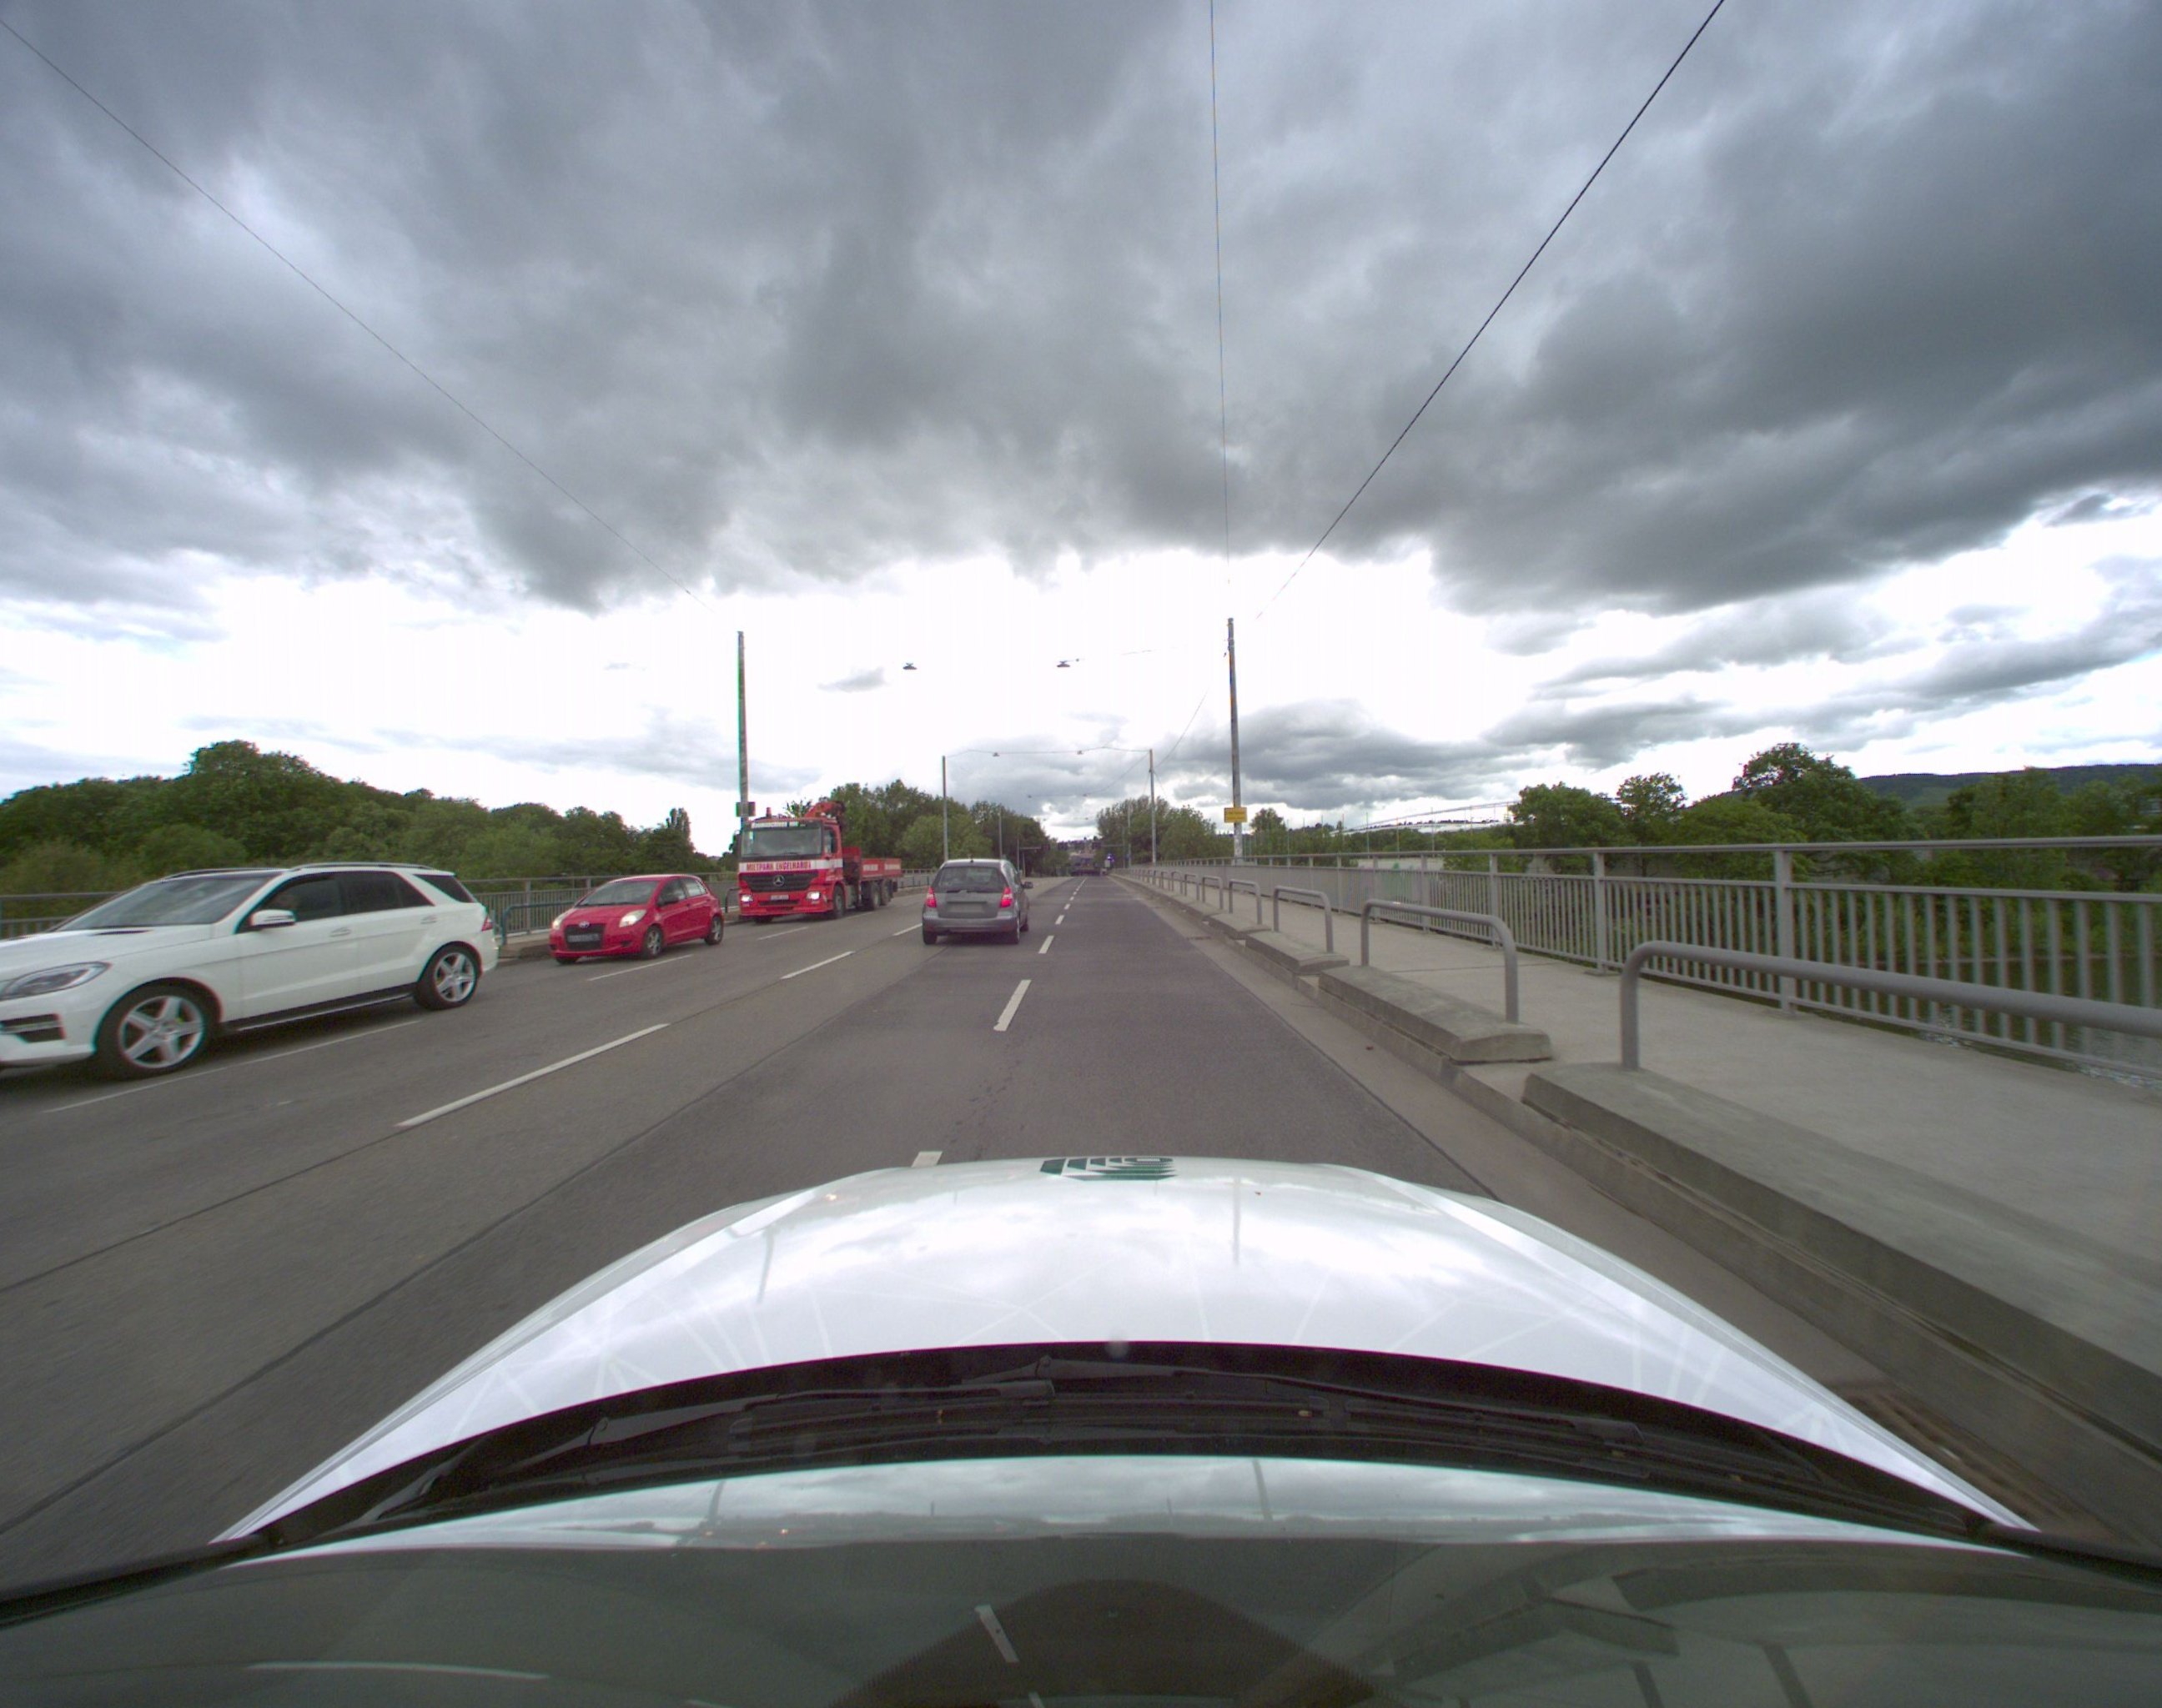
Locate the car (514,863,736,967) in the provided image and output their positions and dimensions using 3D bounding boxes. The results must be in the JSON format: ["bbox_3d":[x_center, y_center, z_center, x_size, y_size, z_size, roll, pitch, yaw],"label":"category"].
[{"bbox_3d":[-8.434,1.035,15.560,1.873,1.603,4.015,-3,0,0],"label":"car"}]

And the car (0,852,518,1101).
[{"bbox_3d":[-8.337,0.918,8.198,1.873,1.761,4.802,-3,0,1],"label":"car"}]

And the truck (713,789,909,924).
[{"bbox_3d":[-8.472,0.092,27.377,2.996,3.565,9.982,-3,0,1],"label":"truck"}]

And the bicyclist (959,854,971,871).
[{"bbox_3d":[-12.381,0.945,86.968,1.130,1.764,0.904,-2,-1,-5],"label":"bicyclist"}]

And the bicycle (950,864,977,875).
[{"bbox_3d":[-12.531,1.630,86.927,2.786,1.051,0.919,-2,-1,-5],"label":"bicycle"}]

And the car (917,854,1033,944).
[{"bbox_3d":[-1.968,0.790,16.197,1.739,1.550,3.871,-1,0,0],"label":"car"}]
